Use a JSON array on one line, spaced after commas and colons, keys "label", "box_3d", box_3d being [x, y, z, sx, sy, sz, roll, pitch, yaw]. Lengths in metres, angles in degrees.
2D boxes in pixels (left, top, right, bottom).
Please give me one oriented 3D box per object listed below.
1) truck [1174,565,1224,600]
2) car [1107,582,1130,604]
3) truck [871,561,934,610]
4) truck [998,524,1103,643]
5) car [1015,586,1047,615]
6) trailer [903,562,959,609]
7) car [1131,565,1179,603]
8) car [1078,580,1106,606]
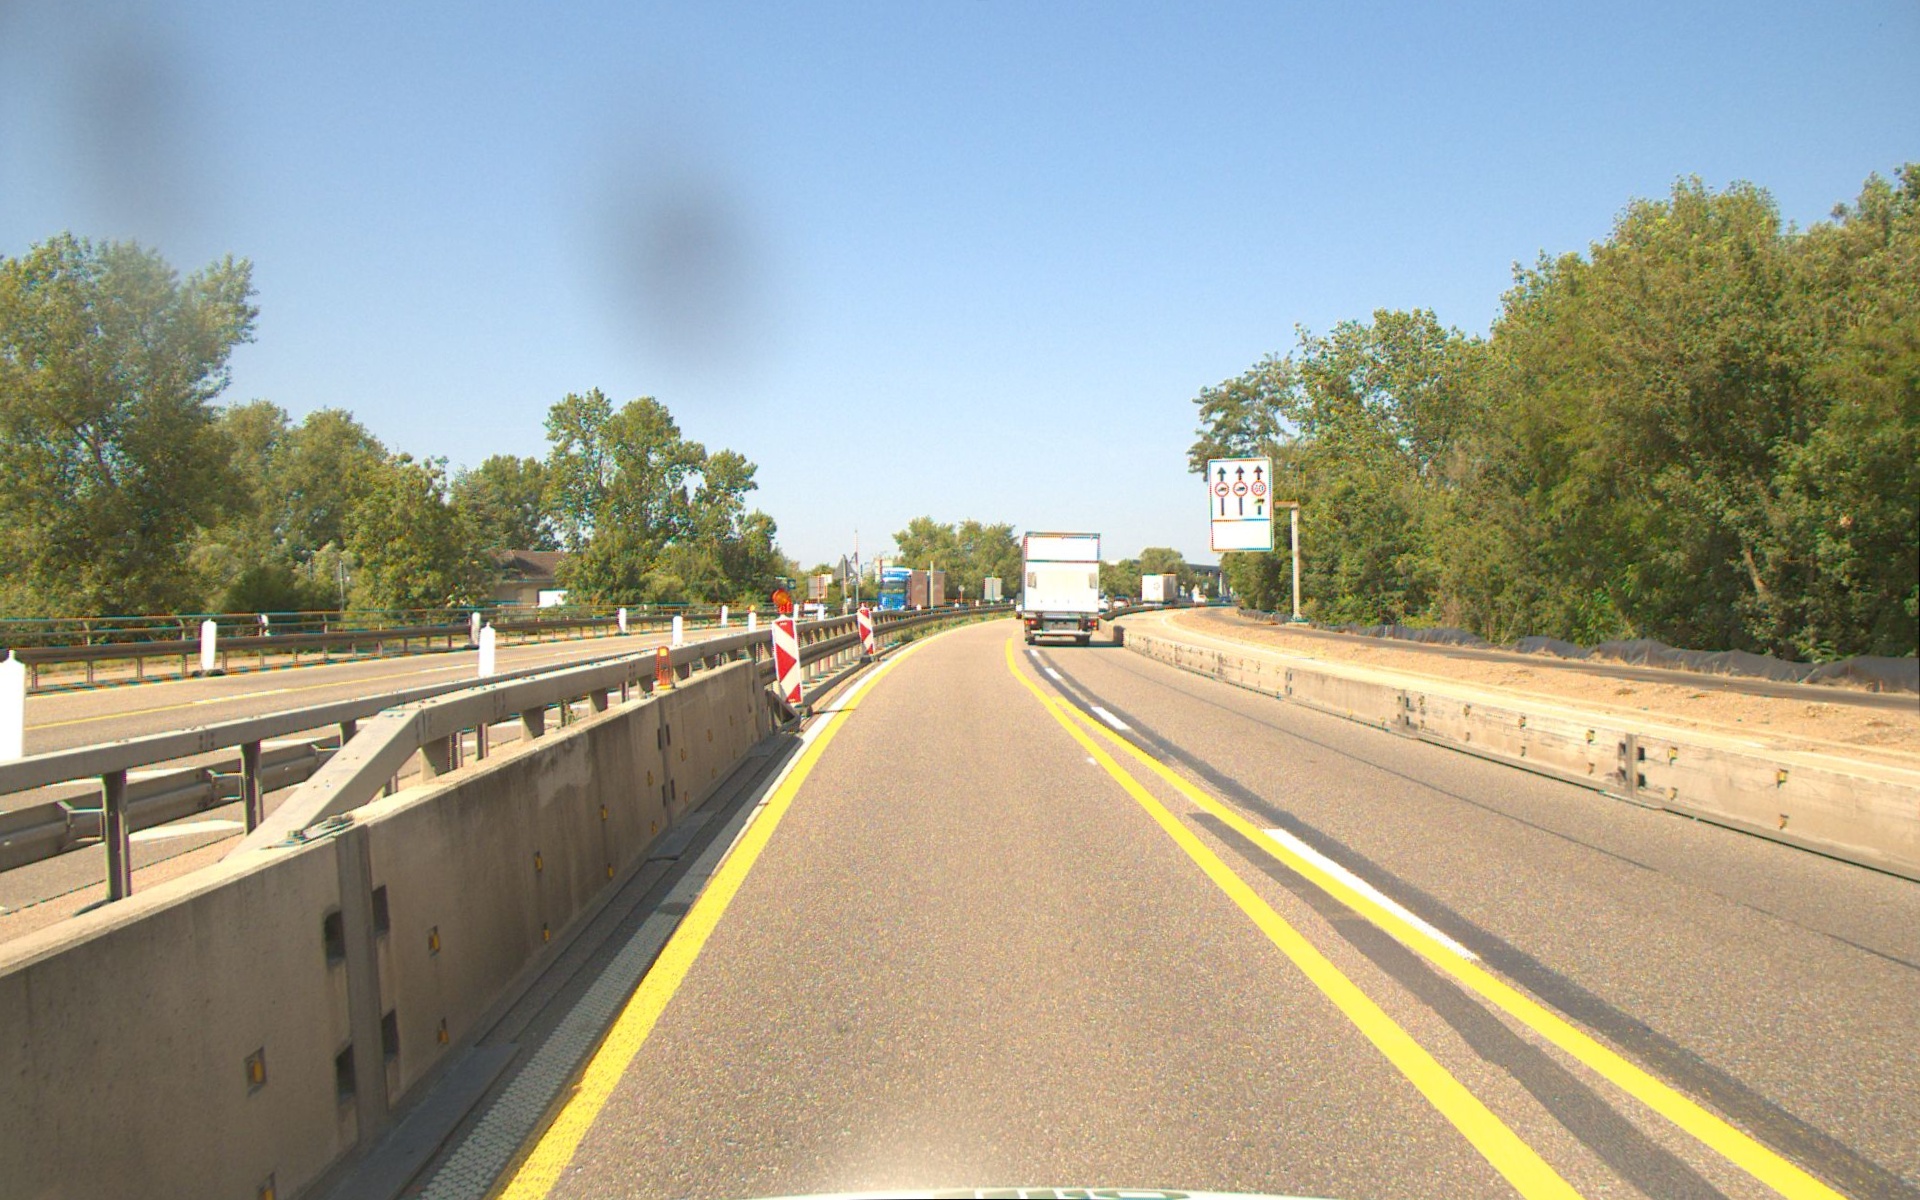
[{"label": "truck", "box_3d": [31.942, -2.348, 220.545, 4.133, 4.341, 10.241, -2, 0, 22]}, {"label": "car", "box_3d": [15.813, -0.712, 165.229, 1.951, 2.049, 4.004, -2, 0, 10]}, {"label": "truck", "box_3d": [-4.937, -1.277, 144.723, 2.973, 4.162, 10.633, 1, 1, 12]}, {"label": "truck", "box_3d": [2.805, -0.528, 53.156, 2.582, 3.487, 7.229, 1, 0, -3]}, {"label": "car", "box_3d": [4.739, 0.028, 109.623, 1.778, 1.807, 4.003, -2, 0, 6]}, {"label": "trailer", "box_3d": [-2.634, -1.366, 154.800, 2.973, 4.162, 9.797, 1, 1, 13]}, {"label": "car", "box_3d": [23.727, -1.957, 200.749, 4.118, 4.326, 10.669, -2, 0, 16]}, {"label": "car", "box_3d": [11.241, -0.620, 140.578, 1.951, 2.049, 4.004, -2, 0, 9]}]
